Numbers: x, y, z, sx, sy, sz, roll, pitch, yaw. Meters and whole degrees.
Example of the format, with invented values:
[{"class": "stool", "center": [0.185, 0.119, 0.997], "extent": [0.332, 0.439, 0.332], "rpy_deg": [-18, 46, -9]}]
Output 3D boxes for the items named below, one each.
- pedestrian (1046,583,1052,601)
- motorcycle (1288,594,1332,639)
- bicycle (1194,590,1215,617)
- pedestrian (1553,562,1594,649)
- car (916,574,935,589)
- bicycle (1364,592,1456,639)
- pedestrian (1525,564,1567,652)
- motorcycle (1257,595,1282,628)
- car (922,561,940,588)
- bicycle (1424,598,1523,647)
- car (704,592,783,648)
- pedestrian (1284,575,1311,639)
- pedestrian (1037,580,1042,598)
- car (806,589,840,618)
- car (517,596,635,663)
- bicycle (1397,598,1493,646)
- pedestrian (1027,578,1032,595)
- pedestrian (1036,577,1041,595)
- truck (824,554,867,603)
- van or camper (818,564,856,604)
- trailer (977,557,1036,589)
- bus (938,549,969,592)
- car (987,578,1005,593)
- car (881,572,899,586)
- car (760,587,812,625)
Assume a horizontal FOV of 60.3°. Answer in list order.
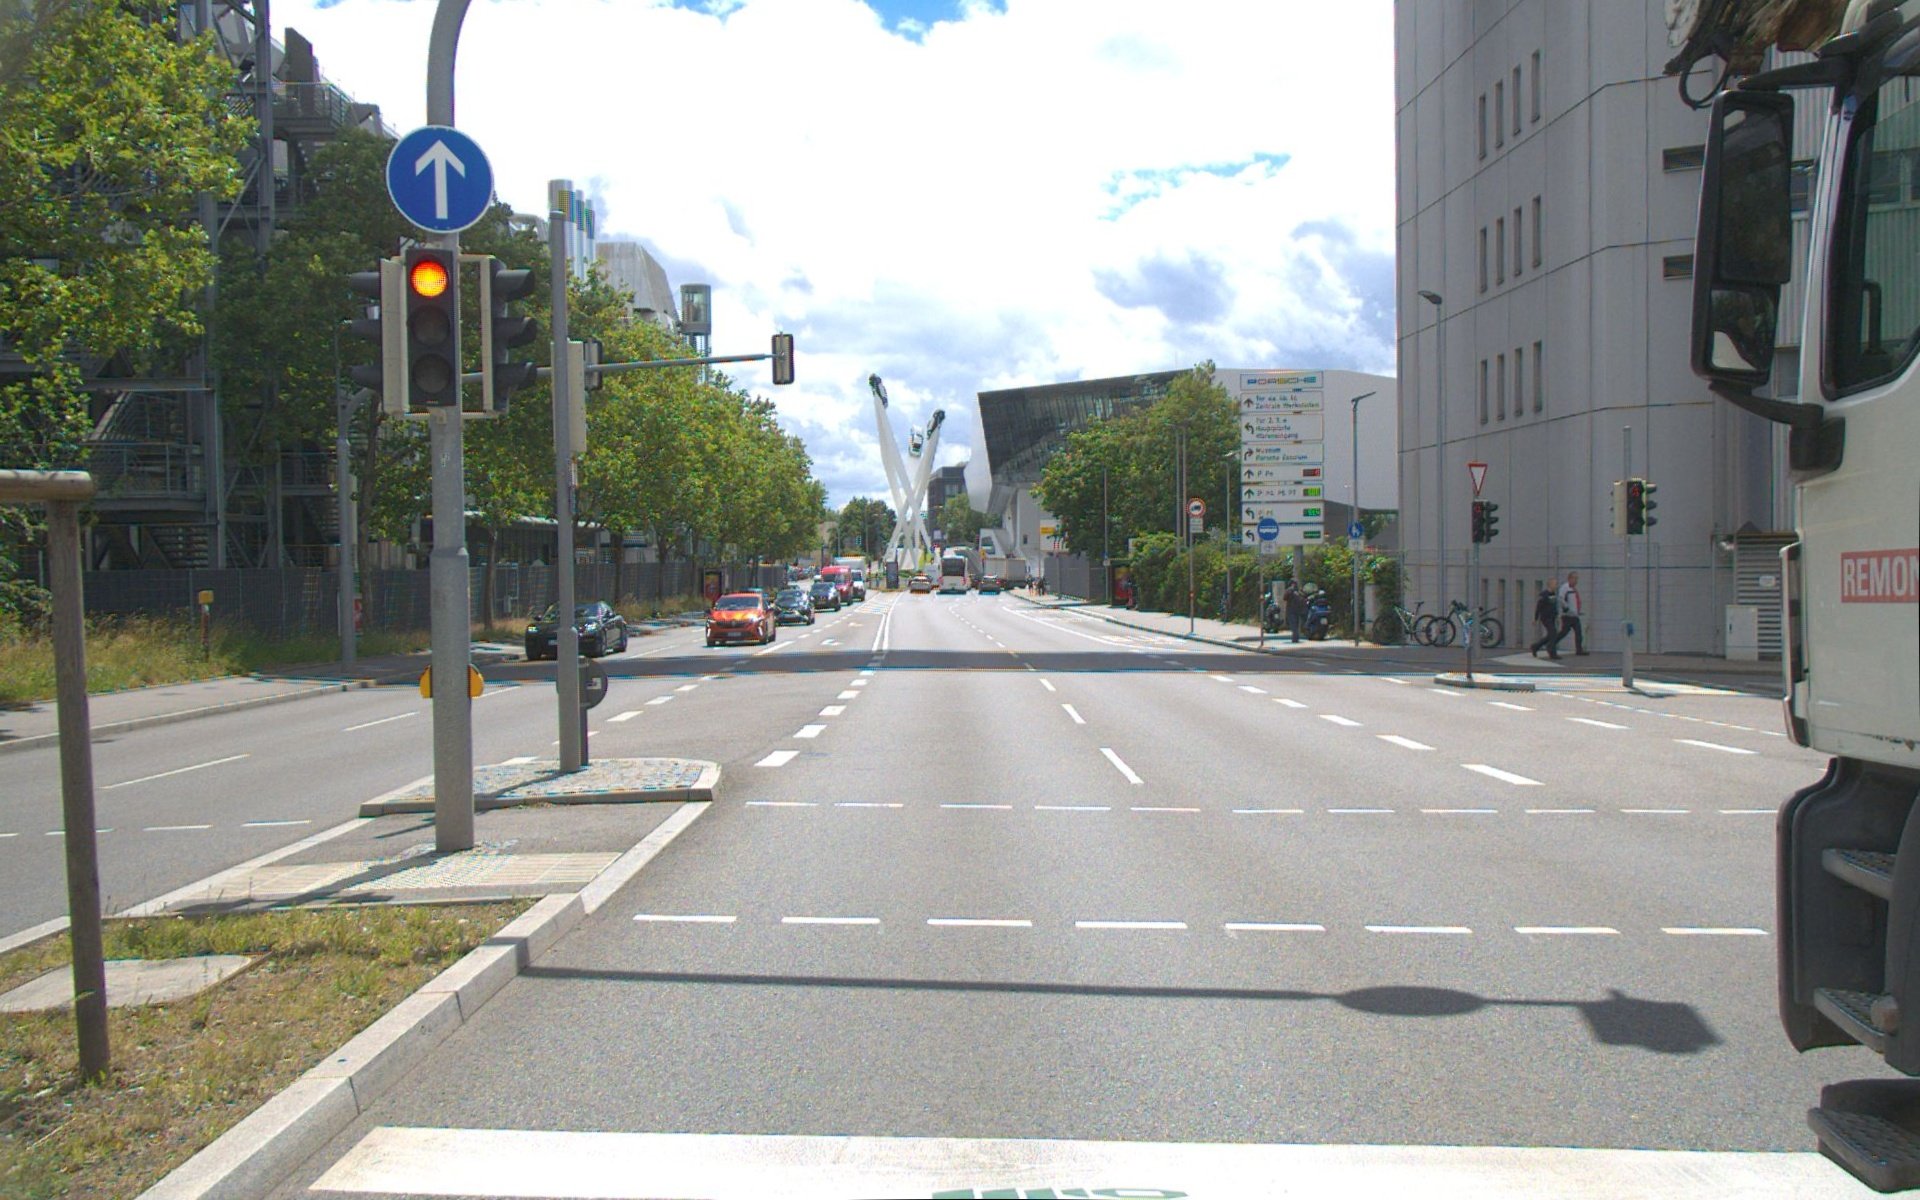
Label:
[{"class": "pedestrian", "center": [7.188, -0.621, 133.714], "extent": [0.378, 1.446, 0.423], "rpy_deg": [1, -1, 0]}, {"class": "motorcycle", "center": [9.547, 0.444, 45.167], "extent": [0.410, 1.186, 1.951], "rpy_deg": [1, 0, -11]}, {"class": "bicycle", "center": [9.670, 0.147, 65.414], "extent": [0.410, 1.040, 1.910], "rpy_deg": [1, 0, -5]}, {"class": "pedestrian", "center": [13.211, 0.116, 35.652], "extent": [0.695, 1.825, 0.694], "rpy_deg": [-3, 1, 15]}, {"class": "car", "center": [-3.103, -1.651, 148.657], "extent": [1.525, 1.295, 3.701], "rpy_deg": [-2, 0, 1]}, {"class": "bicycle", "center": [11.152, 0.378, 41.038], "extent": [2.180, 1.105, 0.475], "rpy_deg": [1, -1, 35]}, {"class": "pedestrian", "center": [12.432, 0.164, 35.084], "extent": [0.694, 1.825, 0.643], "rpy_deg": [-3, 1, 12]}, {"class": "motorcycle", "center": [9.740, 0.363, 52.154], "extent": [0.448, 1.040, 1.913], "rpy_deg": [1, 0, 1]}, {"class": "car", "center": [-2.977, -2.599, 171.145], "extent": [1.806, 2.669, 3.999], "rpy_deg": [1, 0, -1]}, {"class": "bicycle", "center": [12.031, 0.524, 38.789], "extent": [2.149, 1.105, 0.475], "rpy_deg": [1, -1, 35]}, {"class": "car", "center": [-6.193, 0.550, 47.621], "extent": [1.733, 1.445, 3.701], "rpy_deg": [-2, 0, 0]}, {"class": "pedestrian", "center": [8.959, 0.183, 43.903], "extent": [0.523, 1.669, 0.657], "rpy_deg": [1, -1, -6]}, {"class": "pedestrian", "center": [6.413, -0.907, 133.543], "extent": [0.378, 1.446, 0.423], "rpy_deg": [1, -1, 0]}, {"class": "car", "center": [-7.634, 0.190, 92.105], "extent": [1.525, 1.473, 3.772], "rpy_deg": [-2, 0, 0]}, {"class": "car", "center": [-9.853, 0.710, 42.789], "extent": [1.878, 1.514, 4.772], "rpy_deg": [-2, 0, 0]}, {"class": "bicycle", "center": [11.638, 0.521, 39.713], "extent": [2.180, 1.105, 0.475], "rpy_deg": [1, -1, 35]}, {"class": "pedestrian", "center": [5.753, -1.130, 136.834], "extent": [0.378, 1.446, 0.423], "rpy_deg": [1, -1, 0]}, {"class": "pedestrian", "center": [6.459, -1.160, 136.139], "extent": [0.378, 1.446, 0.423], "rpy_deg": [1, -1, 0]}, {"class": "truck", "center": [-8.251, -1.492, 119.552], "extent": [2.538, 3.382, 7.078], "rpy_deg": [1, 0, 0]}, {"class": "van or camper", "center": [-7.928, -1.031, 107.020], "extent": [2.005, 2.509, 5.594], "rpy_deg": [0, 0, 0]}, {"class": "trailer", "center": [4.905, -2.719, 172.162], "extent": [3.250, 3.047, 10.380], "rpy_deg": [1, 0, 18]}, {"class": "bus", "center": [-0.587, -2.640, 149.984], "extent": [2.730, 3.750, 6.942], "rpy_deg": [1, 0, 0]}, {"class": "car", "center": [3.166, -1.292, 146.176], "extent": [1.525, 1.295, 3.701], "rpy_deg": [-2, 0, 1]}, {"class": "car", "center": [-6.562, -1.960, 155.628], "extent": [1.525, 1.295, 3.701], "rpy_deg": [-2, 0, 0]}, {"class": "car", "center": [-7.185, 0.237, 68.521], "extent": [1.733, 1.445, 3.701], "rpy_deg": [-2, 0, 0]}]
